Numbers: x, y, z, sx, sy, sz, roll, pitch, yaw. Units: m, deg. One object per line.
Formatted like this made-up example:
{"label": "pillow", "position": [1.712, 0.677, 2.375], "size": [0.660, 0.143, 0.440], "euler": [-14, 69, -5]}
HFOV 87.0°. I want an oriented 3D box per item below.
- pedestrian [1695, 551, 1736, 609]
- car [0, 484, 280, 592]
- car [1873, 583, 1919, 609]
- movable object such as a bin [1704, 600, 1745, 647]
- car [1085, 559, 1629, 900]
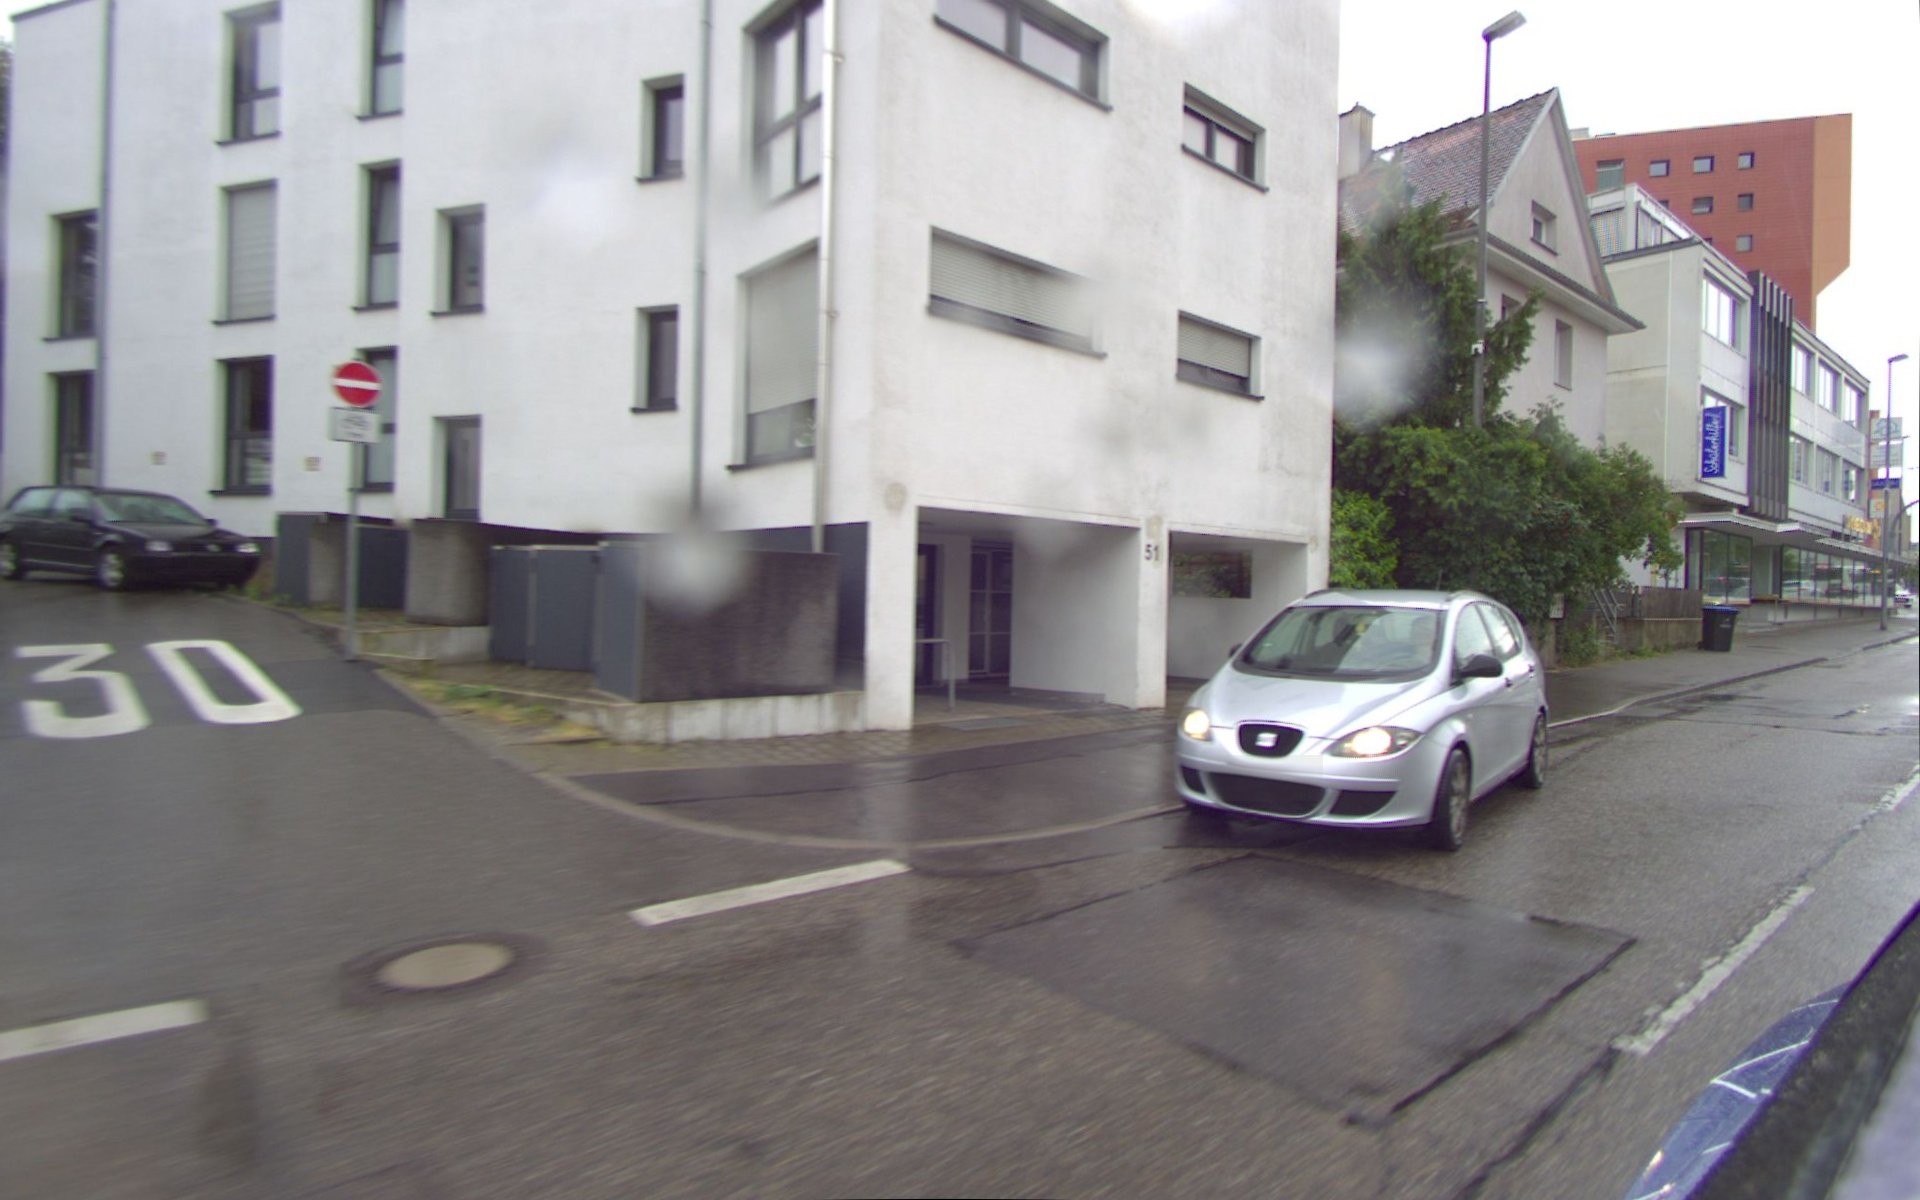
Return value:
{"label": "pedestrian", "position": [24.006, -0.619, 32.160], "size": [0.934, 1.803, 0.732], "euler": [1, 0, -33]}
{"label": "car", "position": [-12.166, -0.954, 14.779], "size": [3.787, 1.332, 1.768], "euler": [4, 5, 18]}
{"label": "car", "position": [57.212, -0.249, 61.299], "size": [1.596, 1.479, 3.403], "euler": [1, 3, 20]}
{"label": "movable object such as a bin", "position": [18.229, 0.552, 24.133], "size": [0.816, 1.061, 0.577], "euler": [2, 1, -41]}
{"label": "car", "position": [3.061, 0.579, 7.287], "size": [4.289, 1.641, 2.014], "euler": [-3, 3, -43]}
